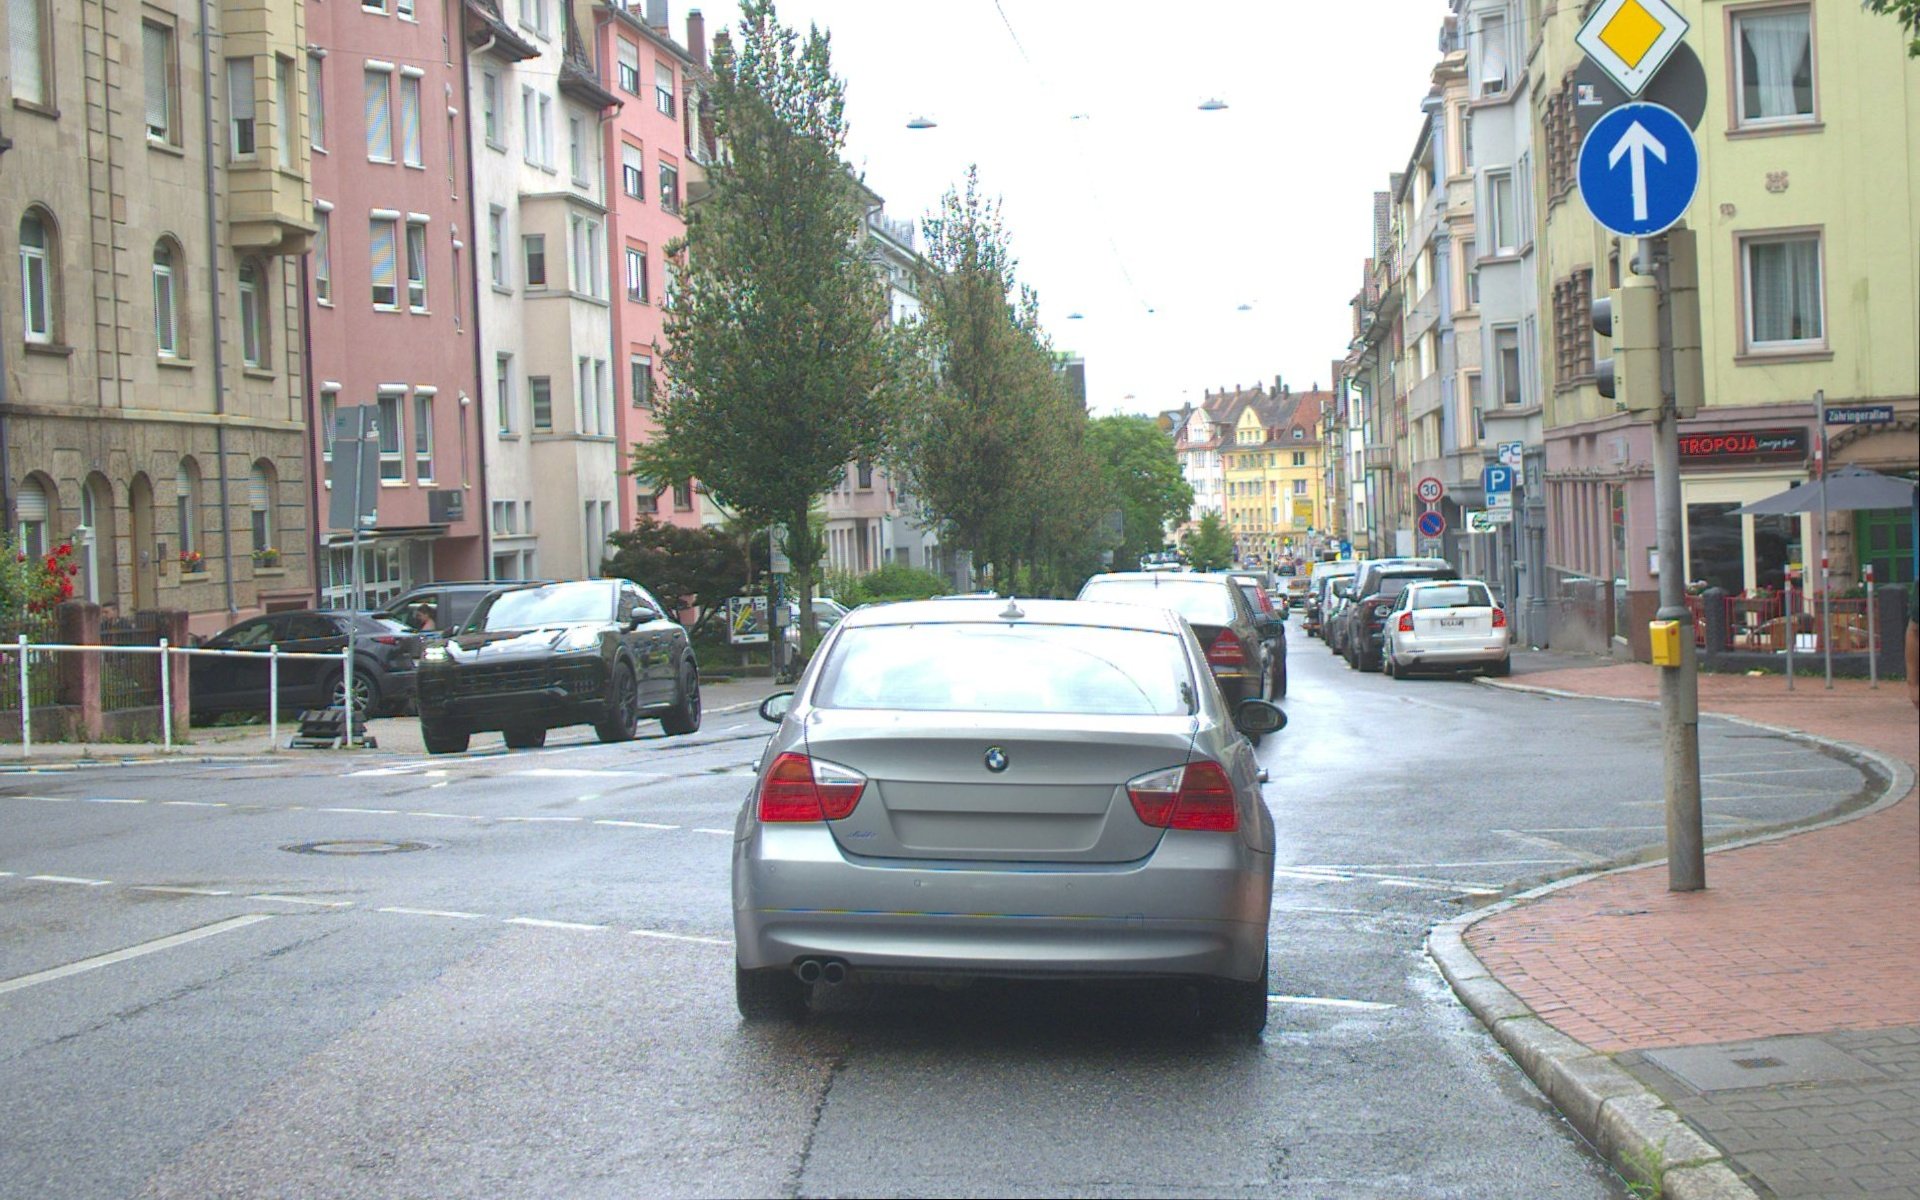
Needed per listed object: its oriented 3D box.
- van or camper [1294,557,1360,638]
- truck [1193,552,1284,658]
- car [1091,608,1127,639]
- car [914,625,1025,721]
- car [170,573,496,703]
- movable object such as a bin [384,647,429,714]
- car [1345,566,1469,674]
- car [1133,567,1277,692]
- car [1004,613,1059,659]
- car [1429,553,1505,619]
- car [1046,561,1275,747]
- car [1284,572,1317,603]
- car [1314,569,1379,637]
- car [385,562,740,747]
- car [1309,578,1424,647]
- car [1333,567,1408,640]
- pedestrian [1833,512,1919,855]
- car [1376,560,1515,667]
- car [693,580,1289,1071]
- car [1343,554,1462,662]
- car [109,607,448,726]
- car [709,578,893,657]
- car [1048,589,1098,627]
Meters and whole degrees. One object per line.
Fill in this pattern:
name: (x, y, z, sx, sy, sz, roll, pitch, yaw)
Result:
van or camper: (13.568, -0.078, 126.880, 2.034, 2.859, 6.882, 1, 0, 9)
truck: (6.541, 0.146, 80.784, 2.032, 2.404, 4.826, 0, -1, 5)
car: (7.879, 1.253, 181.735, 1.636, 1.503, 3.754, -5, -1, 5)
car: (0.215, 1.371, 65.926, 1.621, 1.643, 4.419, -5, -1, 5)
car: (-9.423, 0.560, 51.931, 4.674, 1.932, 1.863, 0, 0, -4)
movable object such as a bin: (-7.839, 1.140, 48.689, 0.505, 0.947, 0.440, 0, 0, 11)
car: (7.462, 0.341, 57.747, 1.879, 1.726, 4.675, 0, 0, 5)
car: (3.025, 0.374, 42.682, 1.697, 1.478, 3.793, 0, -1, 4)
car: (2.720, 1.330, 129.324, 1.767, 1.588, 3.999, -4, -1, 4)
car: (13.963, -0.354, 94.903, 1.726, 1.664, 4.287, -4, -1, 5)
car: (1.713, 0.437, 28.350, 1.682, 1.423, 3.740, 0, -1, 6)
car: (19.550, -0.721, 197.545, 1.879, 1.726, 4.439, 0, 0, 5)
car: (13.069, 0.105, 116.531, 1.982, 2.158, 4.749, -3, -1, 5)
car: (-3.861, 0.557, 34.359, 1.966, 1.687, 4.804, -1, -1, 14)
car: (8.906, 0.294, 75.704, 1.875, 1.462, 4.775, -1, -1, -1)
car: (12.177, 0.114, 102.195, 1.982, 2.000, 4.624, -3, -1, 5)
pedestrian: (4.894, 0.406, 17.132, 0.829, 1.673, 0.892, 0, 0, 31)
car: (7.349, 0.208, 52.358, 1.799, 1.559, 4.492, 0, 0, 4)
car: (0.141, 0.662, 12.108, 1.769, 1.423, 3.741, 0, 1, 2)
car: (8.165, 0.155, 63.784, 1.920, 1.821, 5.008, -3, -1, 5)
car: (-9.277, 0.900, 46.974, 4.148, 1.505, 1.873, -1, 0, 6)
car: (-4.437, 0.499, 96.381, 4.830, 1.967, 2.047, -3, -1, 5)
car: (4.987, 0.361, 151.365, 1.828, 1.518, 3.735, -4, -1, 6)
